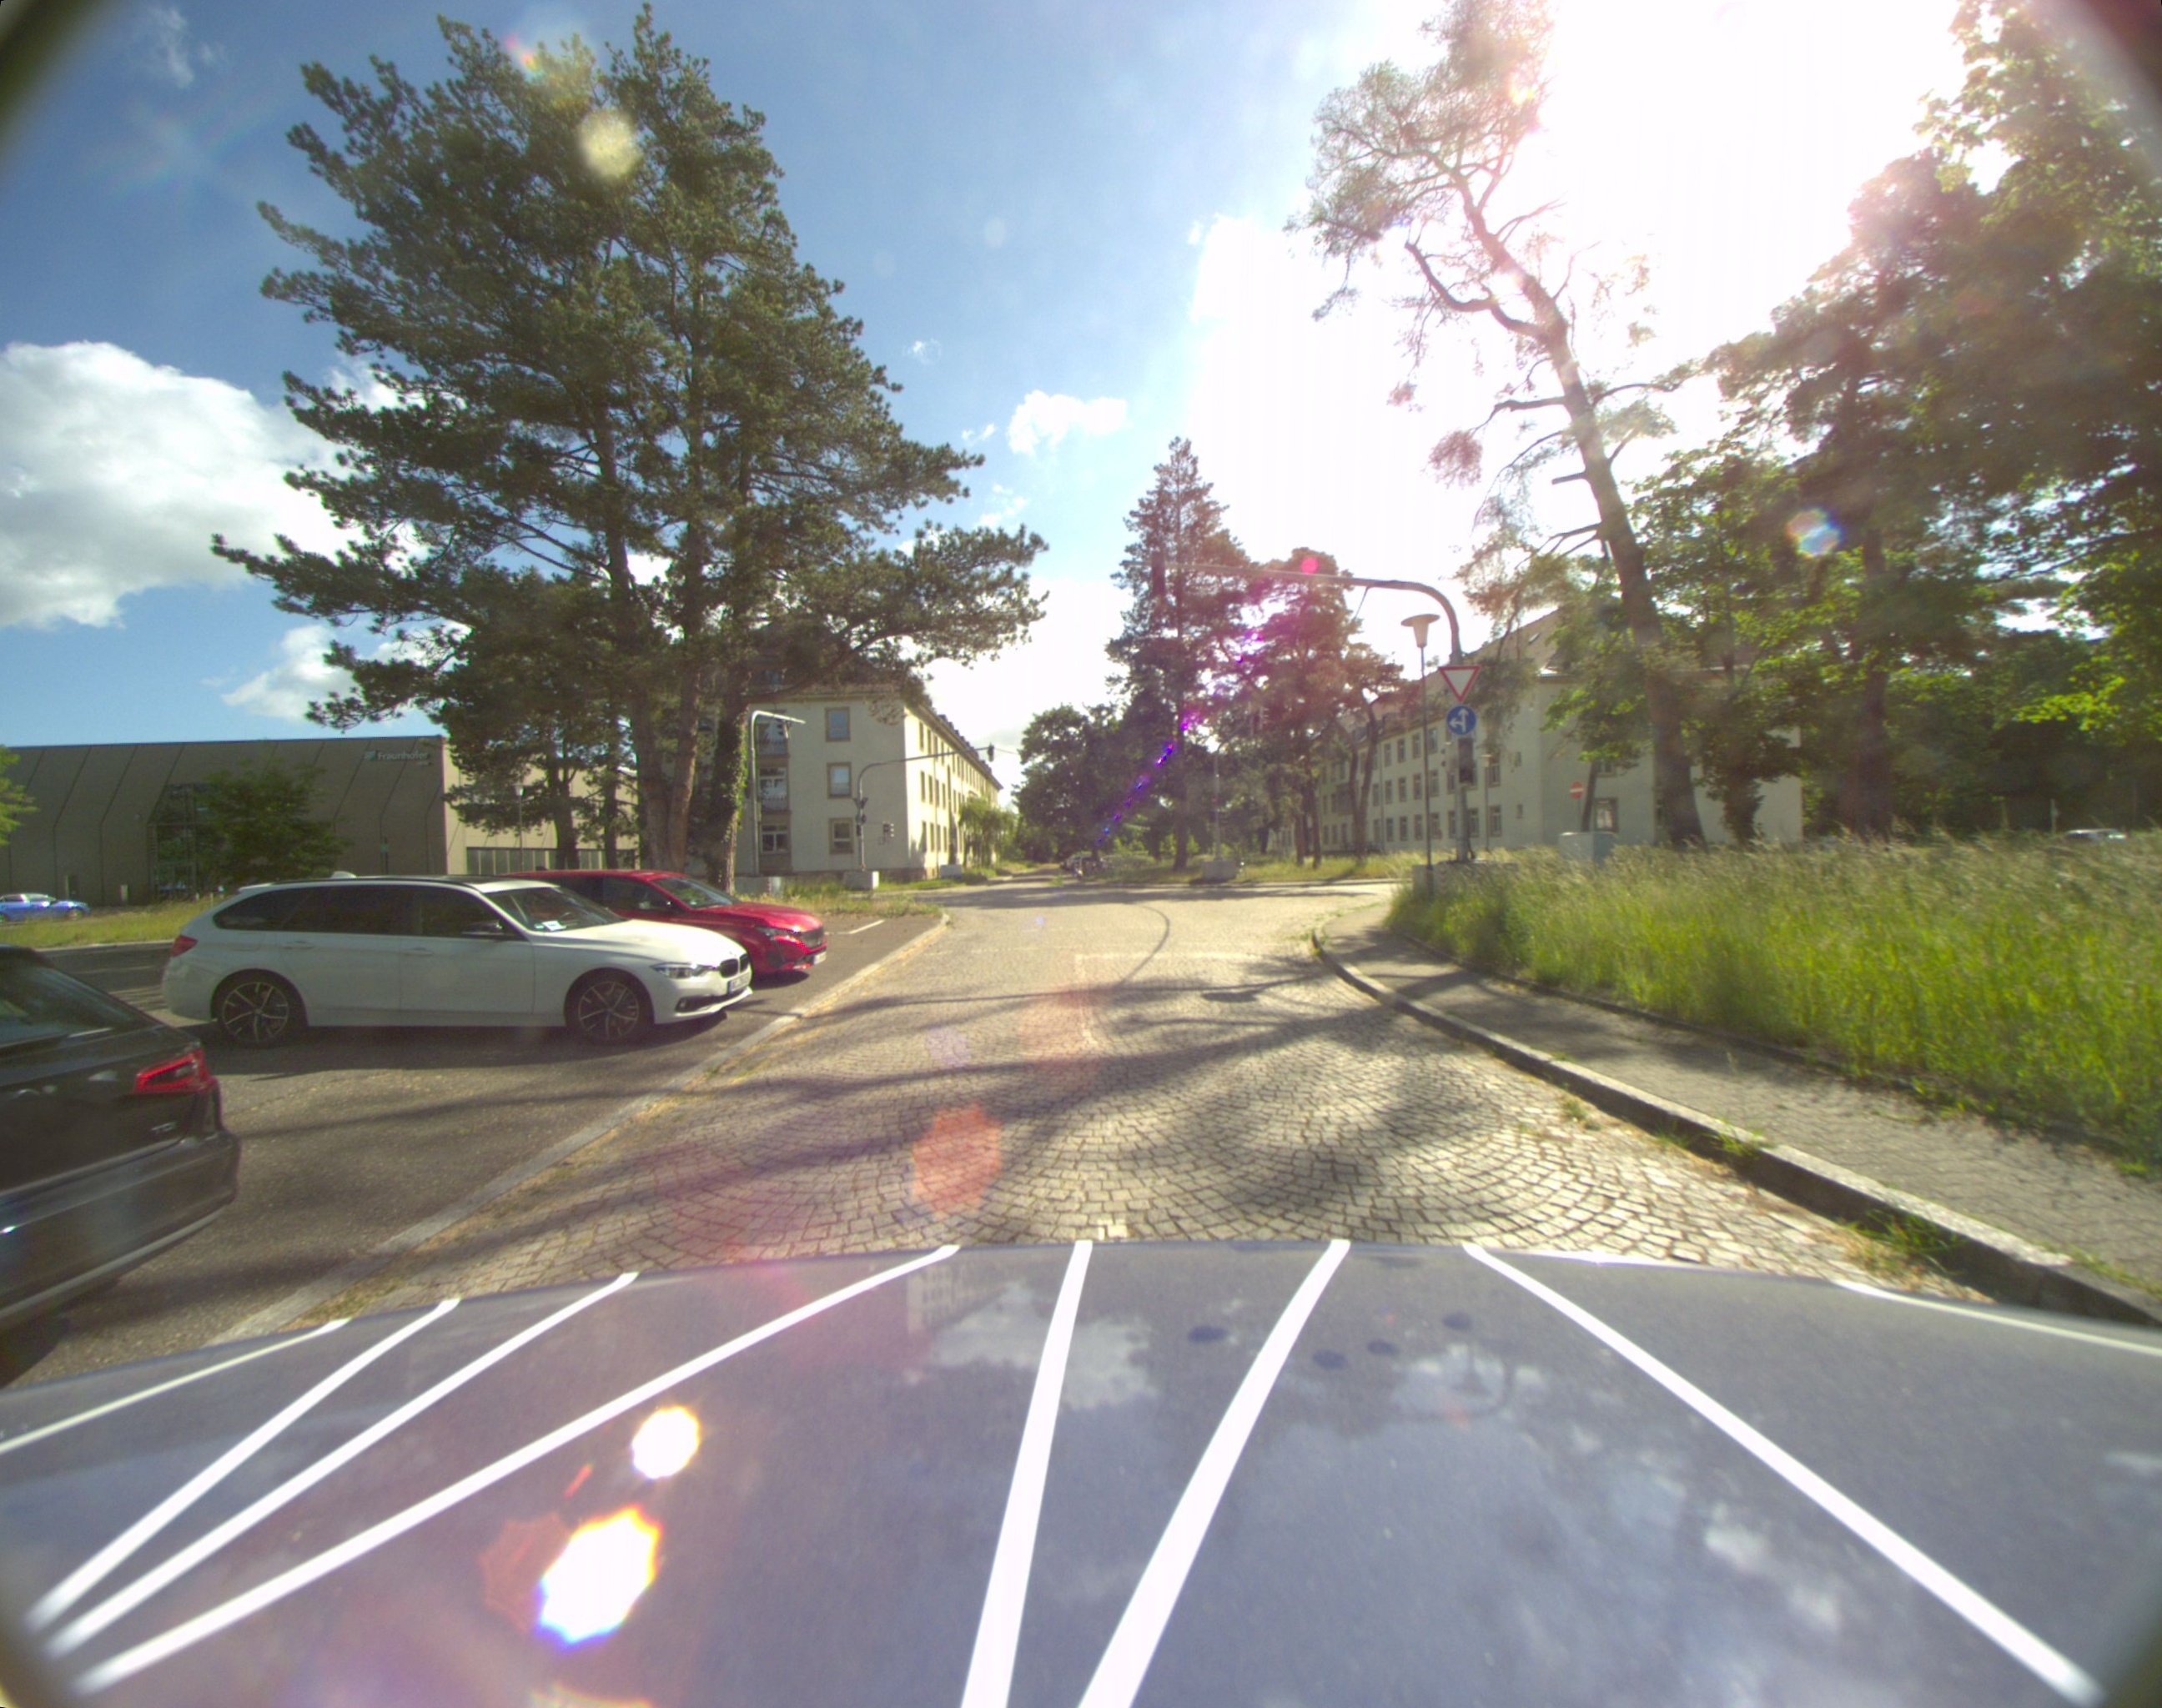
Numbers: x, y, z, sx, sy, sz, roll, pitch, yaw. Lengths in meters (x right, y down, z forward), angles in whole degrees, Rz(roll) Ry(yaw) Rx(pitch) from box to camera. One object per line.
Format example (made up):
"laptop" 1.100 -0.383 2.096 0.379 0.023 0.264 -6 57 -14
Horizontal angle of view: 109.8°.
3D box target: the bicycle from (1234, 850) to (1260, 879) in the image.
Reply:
"bicycle" 7.978 0.496 36.599 0.621 1.276 2.114 -5 0 -3

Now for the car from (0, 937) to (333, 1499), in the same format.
"car" -4.968 1.022 2.024 4.015 1.432 1.843 1 0 -3

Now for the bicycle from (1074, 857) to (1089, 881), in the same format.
"bicycle" 0.002 0.873 45.688 0.621 1.342 2.114 -4 1 -5

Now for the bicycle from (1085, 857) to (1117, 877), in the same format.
"bicycle" 1.367 0.892 52.978 2.114 1.276 0.621 -4 1 -5

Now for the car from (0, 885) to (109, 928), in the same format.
"car" -48.451 2.415 35.040 1.860 1.555 4.058 -2 3 1

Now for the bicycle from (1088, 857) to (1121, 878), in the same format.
"bicycle" 1.582 0.886 51.309 2.114 1.276 0.621 -4 1 -7

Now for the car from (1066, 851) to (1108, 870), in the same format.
"car" 0.609 0.670 81.249 4.227 1.903 1.816 -1 1 -11

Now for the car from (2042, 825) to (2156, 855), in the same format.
"car" 57.965 -0.783 43.309 4.105 1.571 1.720 -1 1 1

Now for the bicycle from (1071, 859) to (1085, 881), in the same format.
"bicycle" -0.185 1.008 47.862 0.621 1.276 2.114 -4 1 -5

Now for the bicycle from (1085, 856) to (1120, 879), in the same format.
"bicycle" 1.391 0.870 49.055 2.114 1.276 0.621 -7 1 -4

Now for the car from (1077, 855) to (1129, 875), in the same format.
"car" 1.847 0.914 63.918 4.045 1.514 1.816 -1 1 -9

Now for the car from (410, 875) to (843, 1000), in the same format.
"car" -5.723 1.031 10.057 4.549 1.413 1.894 1 1 -2

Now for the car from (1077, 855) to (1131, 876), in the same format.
"car" 1.857 0.900 60.893 4.045 1.493 1.816 -1 1 -9

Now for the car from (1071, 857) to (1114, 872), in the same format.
"car" 1.156 1.043 75.643 4.044 1.355 1.817 -1 1 -8

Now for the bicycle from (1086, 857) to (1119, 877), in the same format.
"bicycle" 1.452 0.896 52.135 2.114 1.276 0.621 -4 1 -7

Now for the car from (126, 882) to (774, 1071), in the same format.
"car" -5.565 1.054 7.247 4.525 1.456 1.838 1 1 -4

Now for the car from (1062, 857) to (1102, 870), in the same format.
"car" 0.101 1.071 84.397 4.227 1.294 1.816 -1 1 -11
